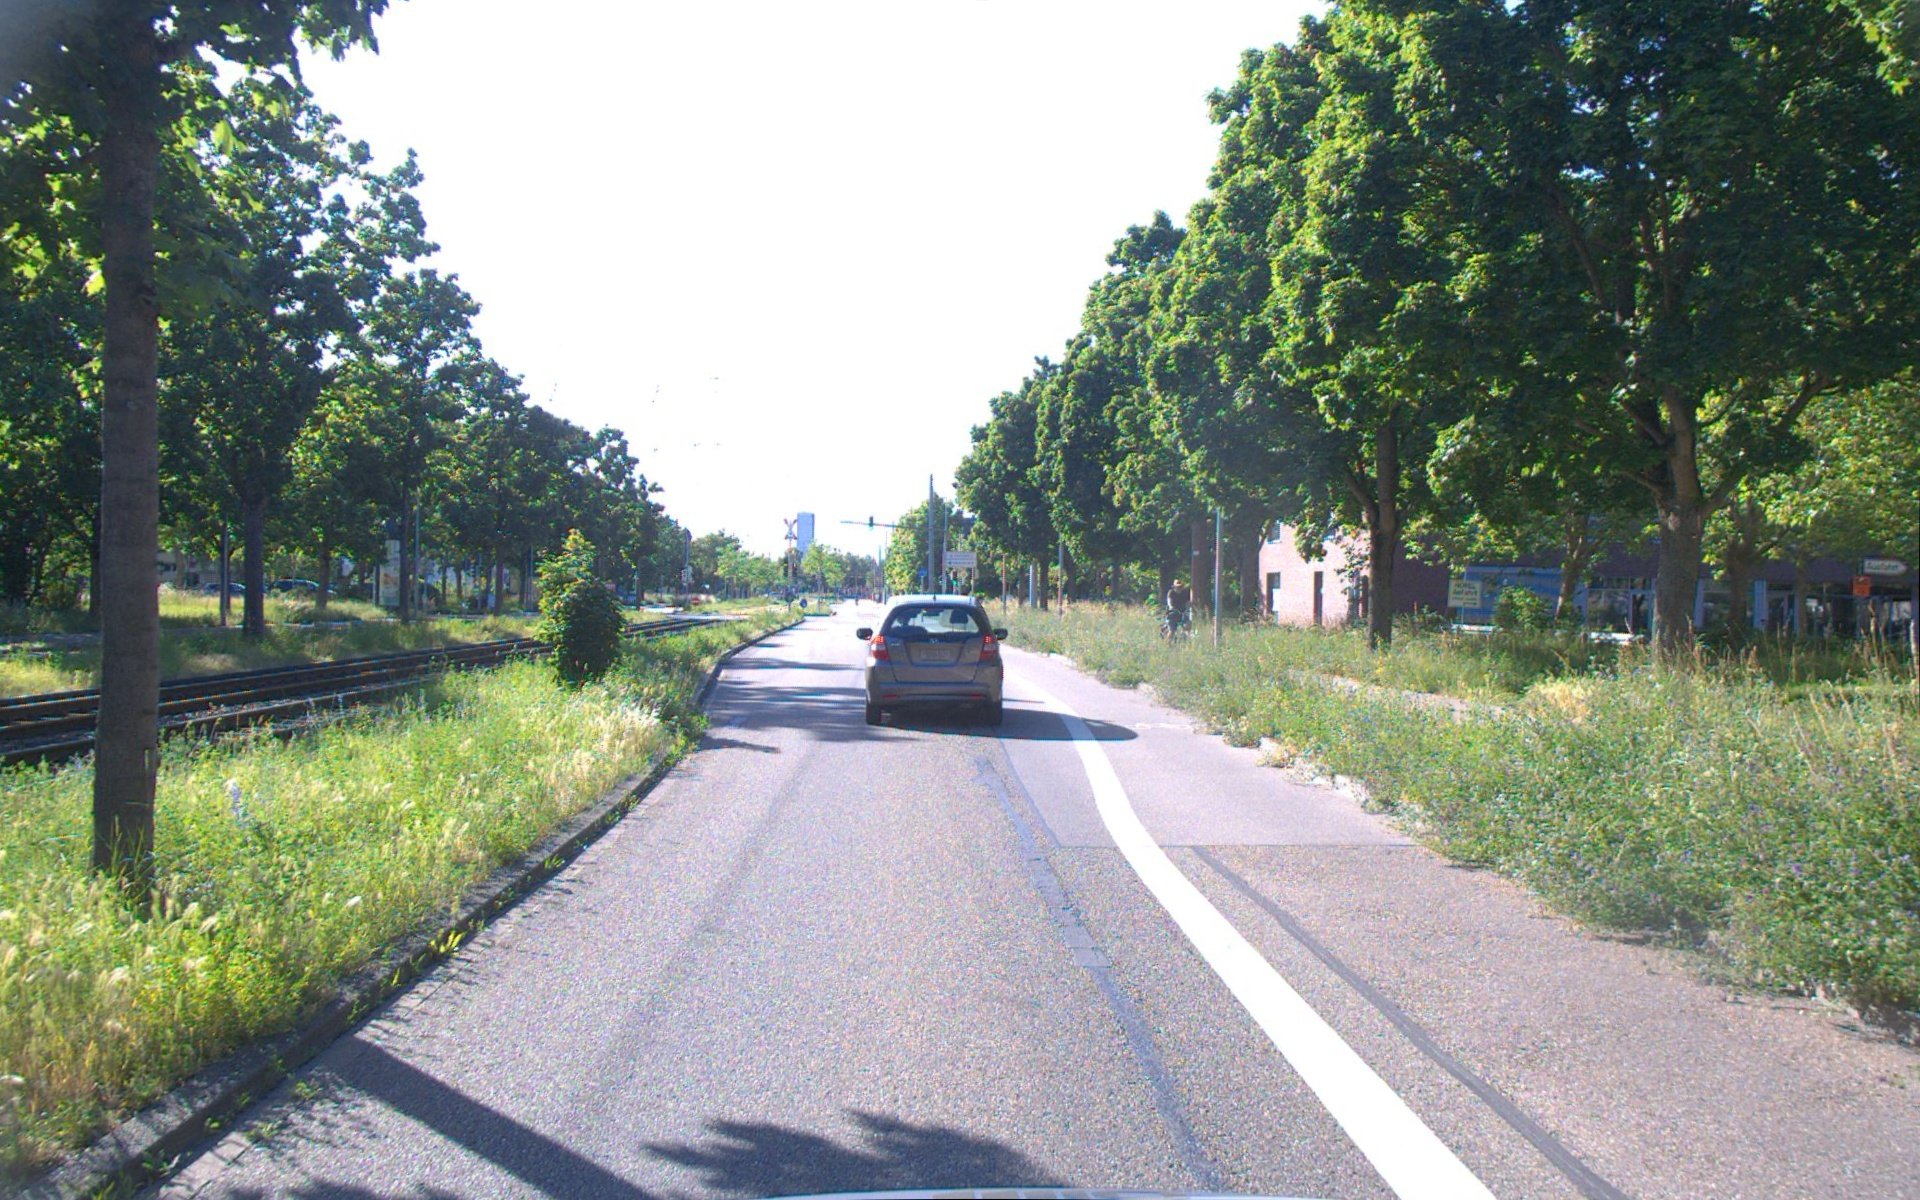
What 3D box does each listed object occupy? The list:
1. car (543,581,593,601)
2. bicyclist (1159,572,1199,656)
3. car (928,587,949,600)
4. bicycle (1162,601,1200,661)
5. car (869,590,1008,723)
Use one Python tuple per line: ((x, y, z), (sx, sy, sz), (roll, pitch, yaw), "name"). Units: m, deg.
((-39.088, -0.914, 164.961), (1.823, 2.008, 4.768), (1, 1, 36), "car")
((4.647, 0.295, 35.114), (0.669, 1.750, 0.902), (1, -1, -4), "bicyclist")
((-2.308, -0.722, 177.522), (1.740, 1.411, 3.863), (0, 0, -8), "car")
((4.667, 0.670, 34.990), (0.473, 1.225, 2.143), (1, -2, -1), "bicycle")
((-0.312, 0.644, 20.749), (1.591, 1.526, 3.455), (1, 0, -2), "car")
